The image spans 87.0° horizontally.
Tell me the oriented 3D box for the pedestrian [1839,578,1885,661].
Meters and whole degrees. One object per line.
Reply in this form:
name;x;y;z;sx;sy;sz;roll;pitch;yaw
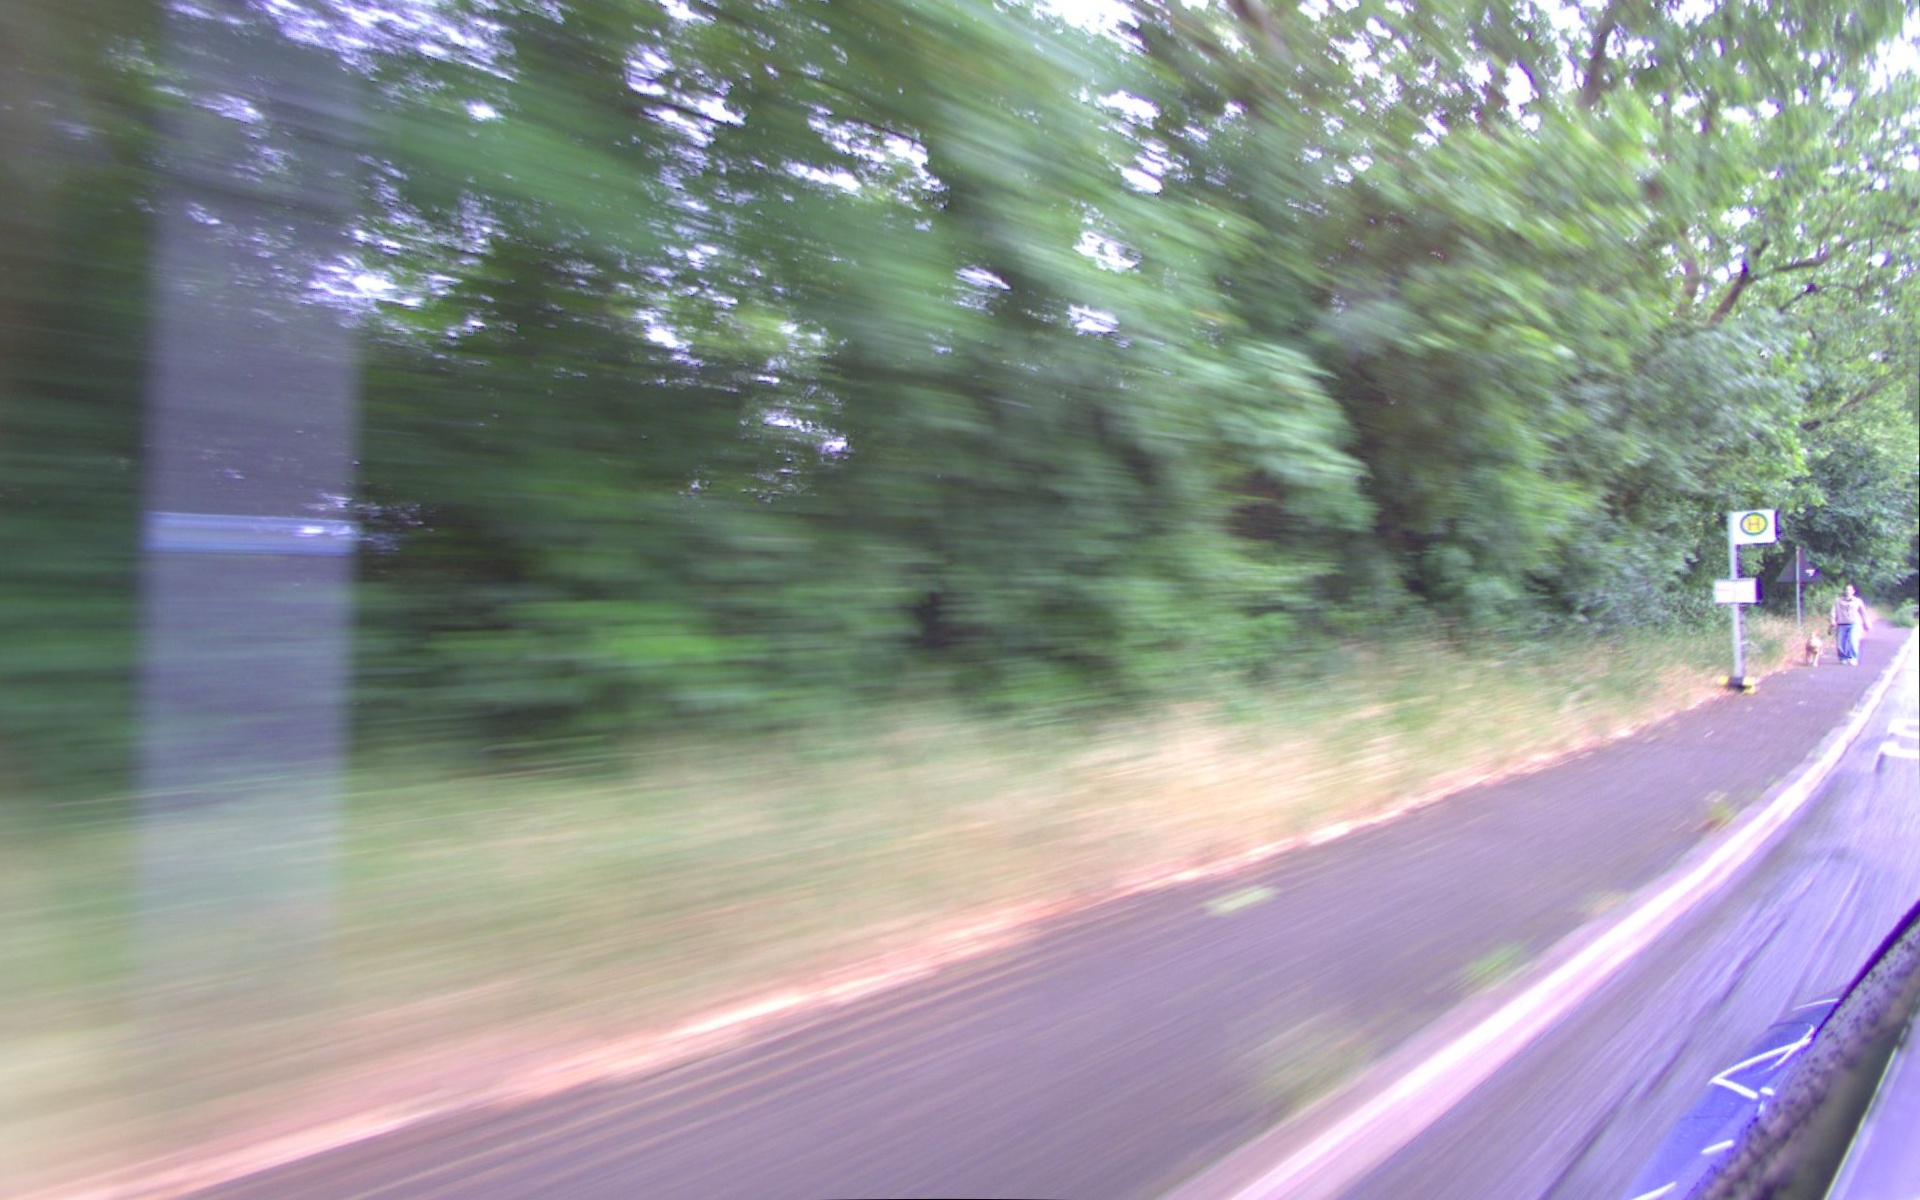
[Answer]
pedestrian;18.277;0.384;20.509;0.642;1.631;0.659;2;2;44
